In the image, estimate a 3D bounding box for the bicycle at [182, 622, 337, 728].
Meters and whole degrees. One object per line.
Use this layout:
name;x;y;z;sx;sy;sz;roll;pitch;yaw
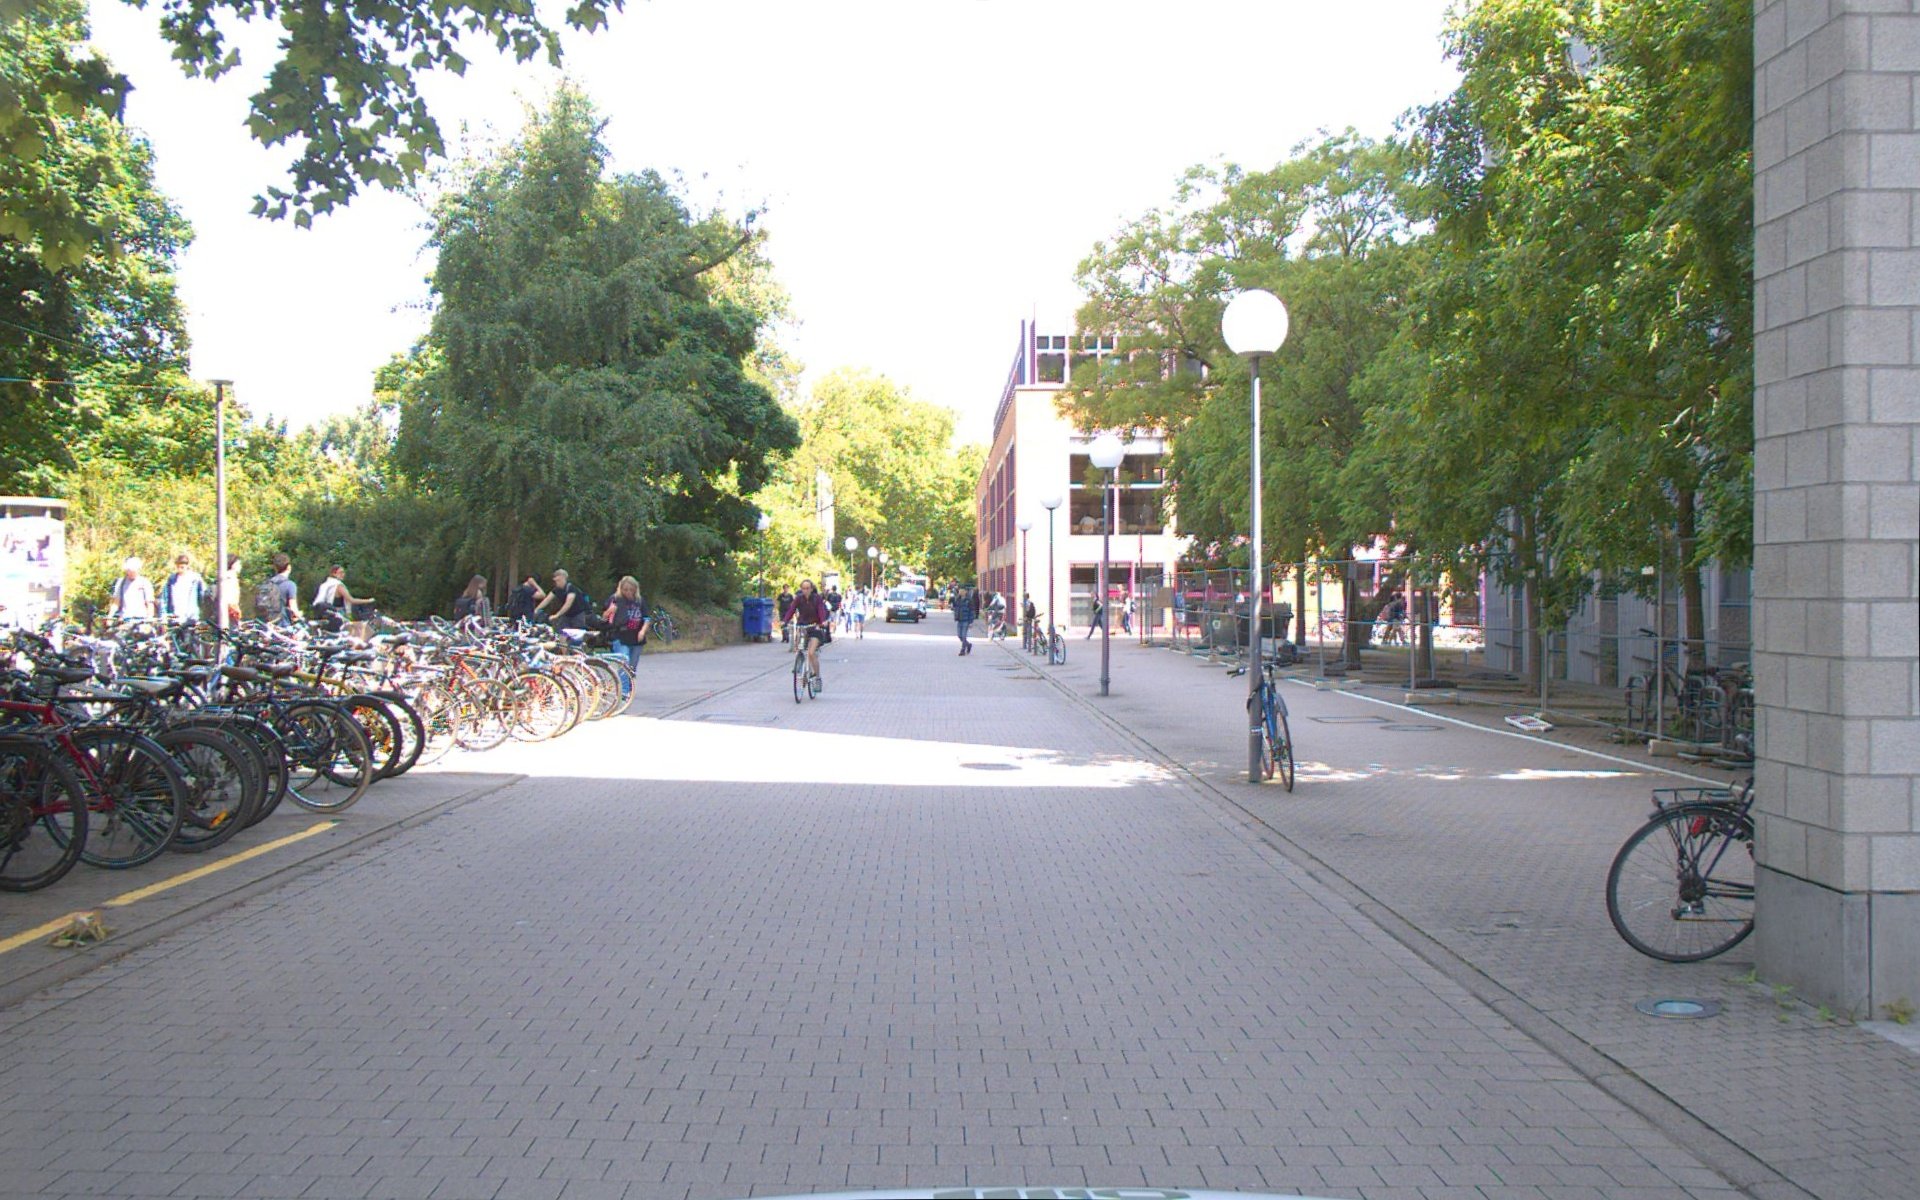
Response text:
bicycle;-7.723;0.811;18.229;1.658;1.102;0.474;1;0;18

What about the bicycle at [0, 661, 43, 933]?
bicycle;-4.928;0.832;7.035;1.705;1.127;0.495;1;0;-14

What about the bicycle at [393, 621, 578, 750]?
bicycle;-4.548;0.808;15.885;1.668;1.189;0.472;1;0;-19

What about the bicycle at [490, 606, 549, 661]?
bicycle;-9.262;0.694;34.752;0.470;1.065;1.674;3;0;-42

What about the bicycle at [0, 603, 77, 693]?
bicycle;-12.326;0.623;22.005;1.747;1.129;0.471;1;0;43

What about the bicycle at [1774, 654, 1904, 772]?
bicycle;7.686;0.965;14.515;0.285;0.921;1.447;0;0;-4

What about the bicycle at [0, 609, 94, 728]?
bicycle;-9.225;0.654;16.463;1.668;1.102;0.471;1;0;41

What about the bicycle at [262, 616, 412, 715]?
bicycle;-7.421;0.766;19.697;1.658;1.129;0.474;1;0;11

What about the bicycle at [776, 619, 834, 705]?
bicycle;-2.206;0.857;23.713;0.756;1.170;2.106;-1;-1;-4

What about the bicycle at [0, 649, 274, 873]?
bicycle;-4.584;0.834;8.775;1.664;1.127;0.495;1;0;-12

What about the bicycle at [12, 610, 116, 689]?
bicycle;-13.330;0.721;24.603;1.738;1.129;0.473;1;0;28

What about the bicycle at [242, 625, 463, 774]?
bicycle;-5.048;0.805;13.774;1.675;1.177;0.470;1;0;-29

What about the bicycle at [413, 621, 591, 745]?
bicycle;-4.531;0.816;16.428;1.665;1.189;0.472;1;0;-14

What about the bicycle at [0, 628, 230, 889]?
bicycle;-4.640;0.777;8.293;1.703;1.257;0.496;1;0;-9

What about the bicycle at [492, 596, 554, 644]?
bicycle;-10.036;0.467;38.035;0.463;1.065;1.700;2;0;20

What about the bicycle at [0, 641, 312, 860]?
bicycle;-4.578;0.824;9.300;1.665;1.165;0.472;1;0;-13

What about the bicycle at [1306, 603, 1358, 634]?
bicycle;13.835;0.685;61.497;1.773;1.129;0.523;1;0;-3

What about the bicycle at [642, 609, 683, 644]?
bicycle;-7.997;0.716;44.515;0.412;0.926;1.741;0;-1;14

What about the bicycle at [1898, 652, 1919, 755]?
bicycle;8.930;0.955;14.683;0.285;0.921;1.447;0;0;-4

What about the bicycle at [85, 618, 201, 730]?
bicycle;-8.650;0.754;17.483;1.668;1.102;0.471;1;0;41

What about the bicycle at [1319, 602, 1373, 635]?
bicycle;13.696;0.651;58.657;1.771;1.129;0.524;1;0;2

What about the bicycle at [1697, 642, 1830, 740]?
bicycle;8.497;0.940;17.558;0.285;0.921;1.801;0;0;-9

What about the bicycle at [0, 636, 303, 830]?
bicycle;-4.958;0.796;10.121;1.664;1.127;0.472;1;0;-13

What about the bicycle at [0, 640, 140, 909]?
bicycle;-4.821;0.790;7.729;1.700;1.199;0.497;1;0;-2

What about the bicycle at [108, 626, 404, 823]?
bicycle;-4.532;0.795;10.732;1.663;1.219;0.535;1;0;-10

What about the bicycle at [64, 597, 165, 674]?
bicycle;-13.002;0.535;25.426;1.738;1.129;0.473;1;0;28

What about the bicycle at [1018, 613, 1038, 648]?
bicycle;2.020;0.892;49.244;0.441;0.978;1.739;-2;0;-2

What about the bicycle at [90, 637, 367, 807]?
bicycle;-5.070;0.836;11.548;1.664;1.127;0.564;1;0;-13

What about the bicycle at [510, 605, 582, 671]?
bicycle;-7.373;0.662;29.529;0.462;1.129;1.846;1;0;13

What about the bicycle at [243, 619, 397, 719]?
bicycle;-7.419;0.792;19.187;1.682;1.102;0.474;1;0;14

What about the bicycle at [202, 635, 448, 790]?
bicycle;-4.817;0.844;12.635;1.664;1.127;0.581;1;0;-13

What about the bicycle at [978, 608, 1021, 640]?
bicycle;1.409;0.866;59.607;0.581;1.102;1.886;0;0;-33

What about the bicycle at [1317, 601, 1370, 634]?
bicycle;13.791;0.633;59.508;1.773;1.129;0.523;1;0;-4

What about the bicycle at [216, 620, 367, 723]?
bicycle;-7.554;0.794;18.692;1.658;1.102;0.474;1;0;18

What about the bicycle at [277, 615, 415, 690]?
bicycle;-9.109;0.774;24.538;1.877;1.065;0.538;1;0;-24

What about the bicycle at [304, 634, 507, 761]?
bicycle;-5.000;0.860;14.979;1.681;1.080;0.468;1;0;-37

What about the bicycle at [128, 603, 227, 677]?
bicycle;-12.475;0.621;26.360;1.738;1.129;0.473;1;0;28

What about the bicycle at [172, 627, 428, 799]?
bicycle;-4.797;0.811;12.108;1.664;1.208;0.472;1;0;-13

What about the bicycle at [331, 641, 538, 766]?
bicycle;-4.628;0.888;14.636;1.681;1.036;0.468;1;0;-37

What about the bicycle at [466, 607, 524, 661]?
bicycle;-9.646;0.696;34.257;0.470;1.065;1.674;1;0;-41

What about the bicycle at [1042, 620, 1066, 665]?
bicycle;2.150;0.967;37.933;0.387;0.952;1.731;-2;0;-2

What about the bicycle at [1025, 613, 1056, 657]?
bicycle;2.117;0.909;43.824;0.694;1.112;1.748;0;0;-2

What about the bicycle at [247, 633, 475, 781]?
bicycle;-4.830;0.840;13.367;1.675;1.127;0.470;1;0;-29

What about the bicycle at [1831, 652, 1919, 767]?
bicycle;8.271;0.955;14.622;0.285;0.921;1.447;0;0;-4

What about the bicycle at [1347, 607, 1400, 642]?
bicycle;14.006;0.814;56.022;1.659;1.129;0.474;1;0;2

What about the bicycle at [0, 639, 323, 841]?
bicycle;-4.686;0.806;9.755;1.665;1.127;0.472;1;0;-13

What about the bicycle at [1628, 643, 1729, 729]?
bicycle;8.532;1.001;19.696;0.285;0.921;1.615;0;0;-9
